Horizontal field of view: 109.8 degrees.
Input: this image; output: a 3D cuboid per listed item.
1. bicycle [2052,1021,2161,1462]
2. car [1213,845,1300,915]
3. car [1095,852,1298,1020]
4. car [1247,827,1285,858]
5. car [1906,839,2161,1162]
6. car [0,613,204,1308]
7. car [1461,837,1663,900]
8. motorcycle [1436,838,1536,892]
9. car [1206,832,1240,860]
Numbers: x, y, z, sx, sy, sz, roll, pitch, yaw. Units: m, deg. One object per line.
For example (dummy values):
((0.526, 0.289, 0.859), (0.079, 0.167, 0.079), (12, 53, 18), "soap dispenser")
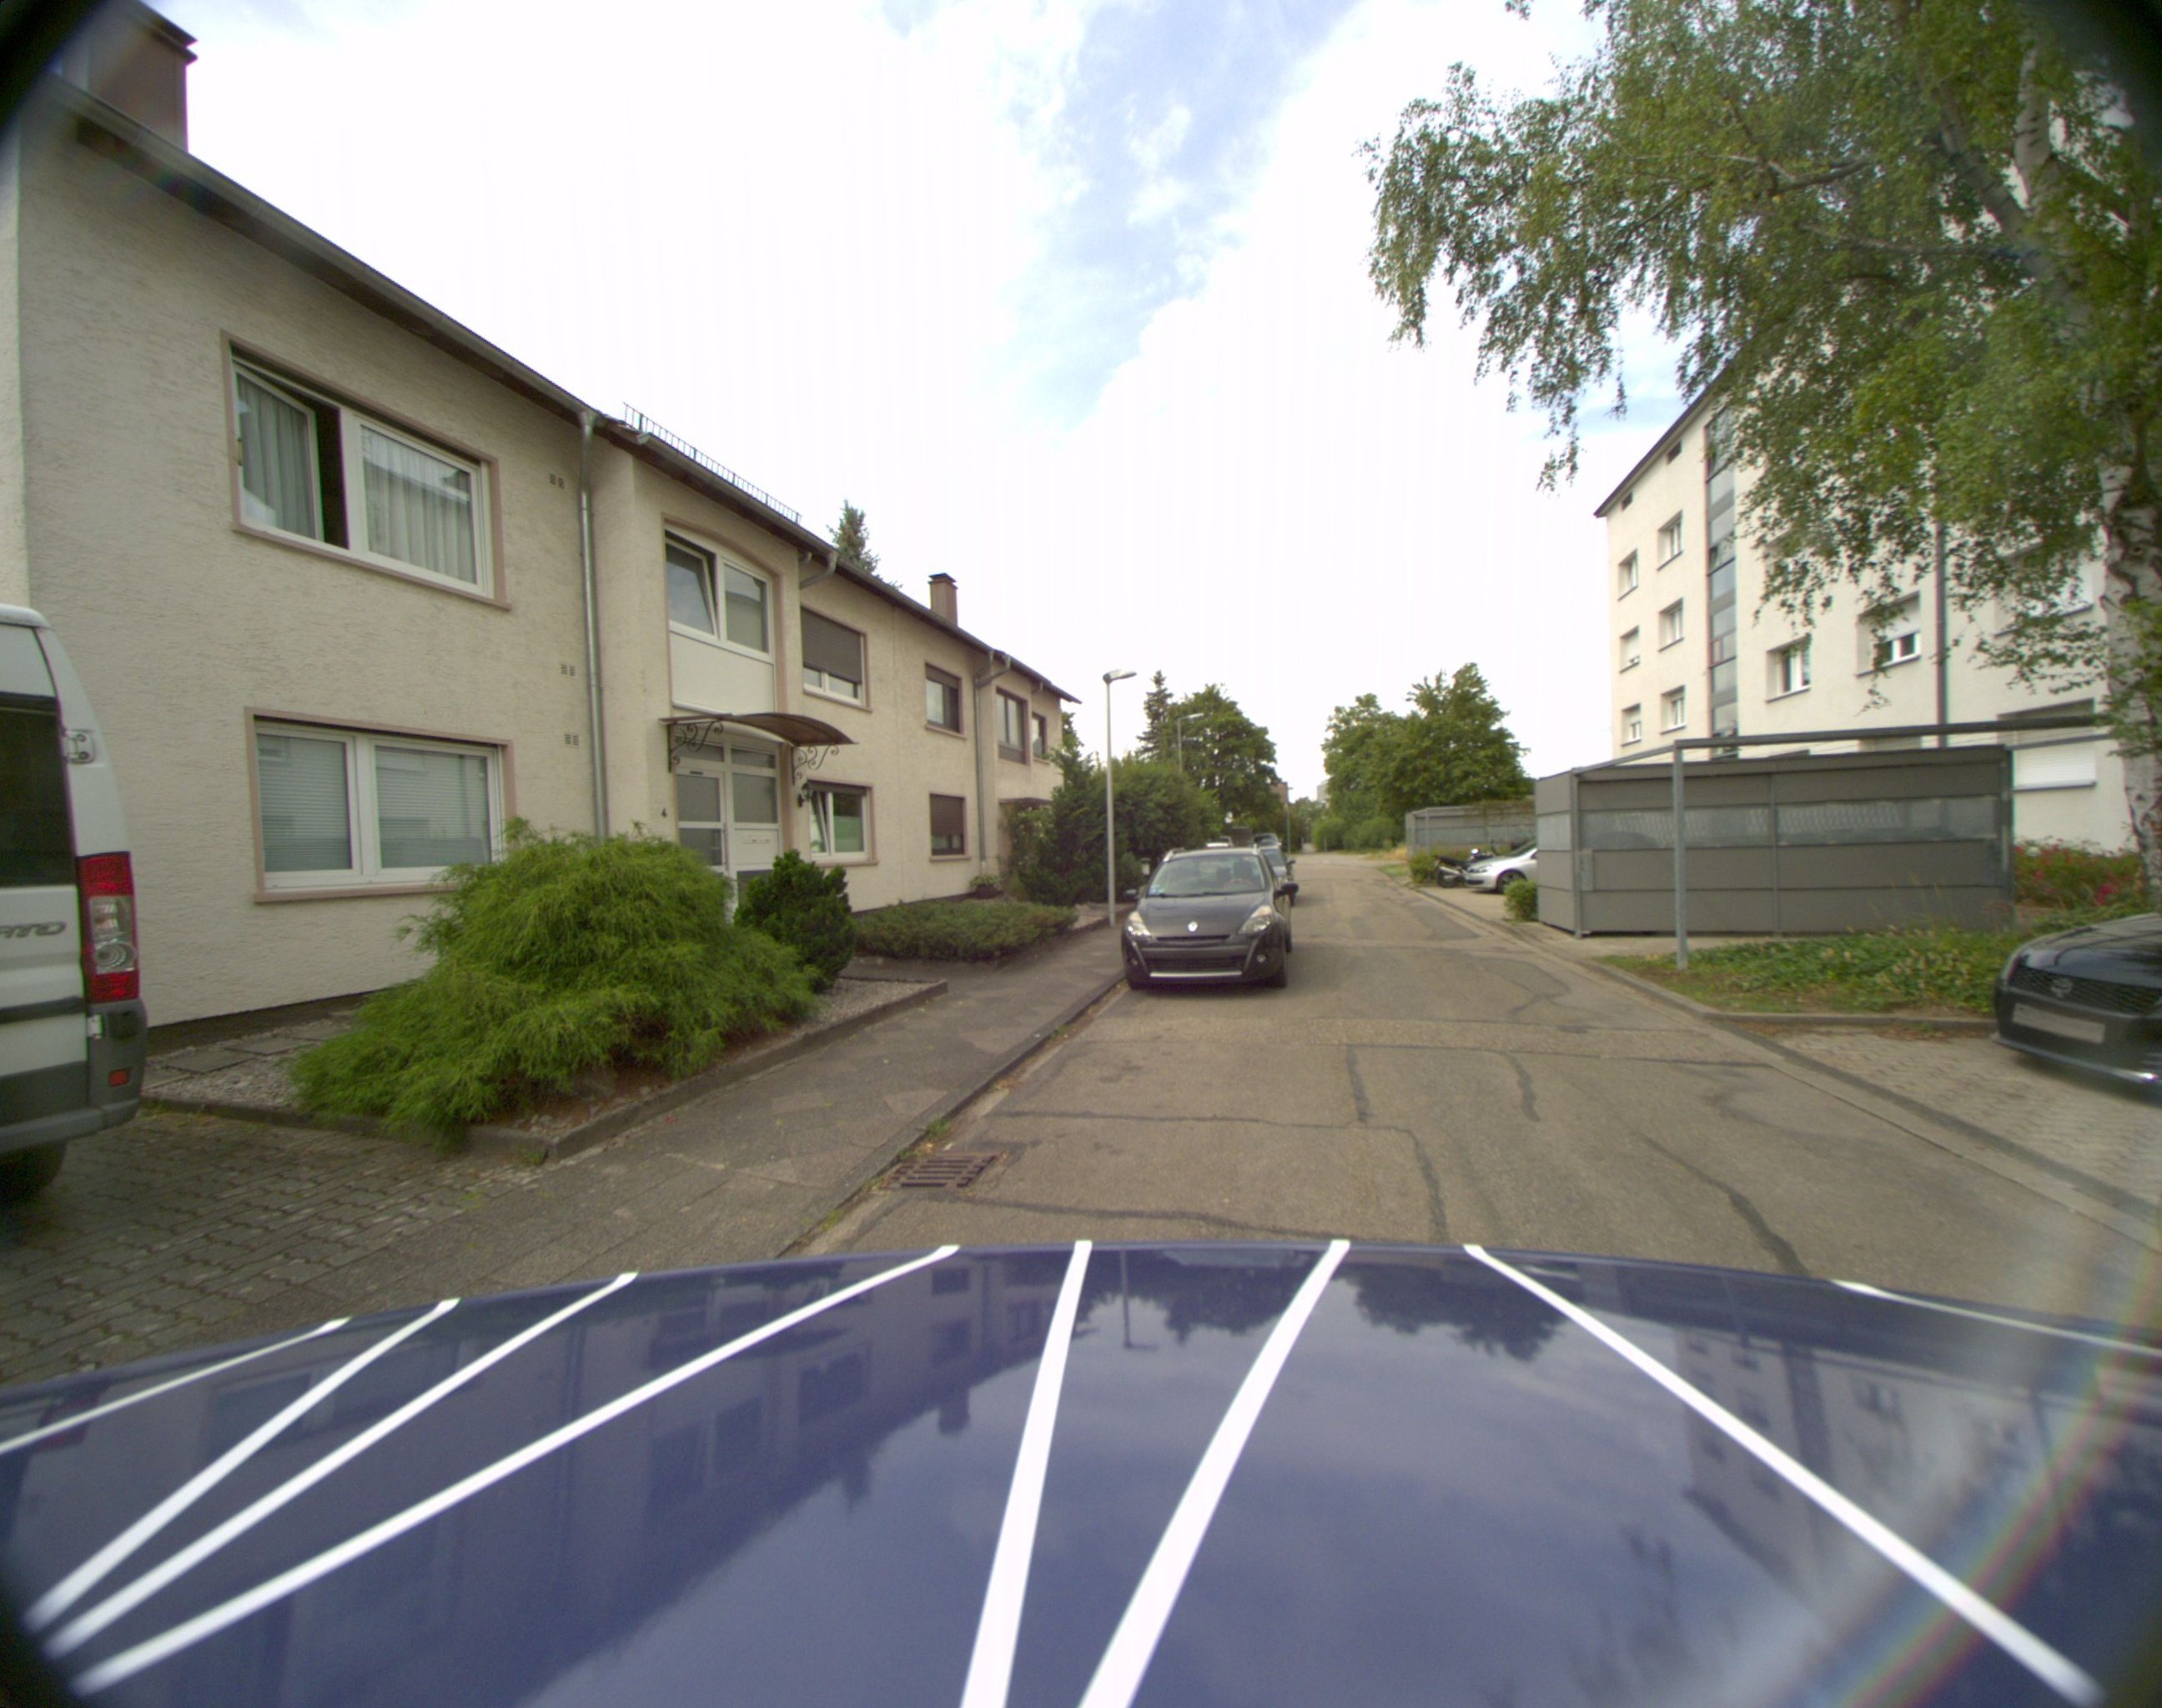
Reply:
((2.838, 1.047, 1.171), (0.598, 1.070, 2.045), (0, 1, 18), "bicycle")
((4.448, 0.572, 19.087), (1.832, 1.449, 4.194), (-3, 1, 15), "car")
((1.586, 0.793, 9.192), (1.832, 1.449, 4.194), (-3, 1, 15), "car")
((10.649, -0.692, 43.757), (1.924, 1.576, 4.003), (-4, 1, 14), "car")
((7.297, 0.662, 3.735), (4.057, 1.496, 1.783), (-1, 1, 16), "car")
((-6.558, 0.431, 2.906), (5.094, 2.528, 2.240), (-1, 1, 17), "car")
((12.071, 0.317, 19.399), (3.991, 1.478, 1.905), (0, 2, 18), "car")
((11.333, 0.296, 21.360), (2.380, 1.456, 0.714), (0, 2, 16), "motorcycle")
((8.470, -0.497, 45.059), (1.703, 1.458, 4.002), (-2, 2, 14), "car")
